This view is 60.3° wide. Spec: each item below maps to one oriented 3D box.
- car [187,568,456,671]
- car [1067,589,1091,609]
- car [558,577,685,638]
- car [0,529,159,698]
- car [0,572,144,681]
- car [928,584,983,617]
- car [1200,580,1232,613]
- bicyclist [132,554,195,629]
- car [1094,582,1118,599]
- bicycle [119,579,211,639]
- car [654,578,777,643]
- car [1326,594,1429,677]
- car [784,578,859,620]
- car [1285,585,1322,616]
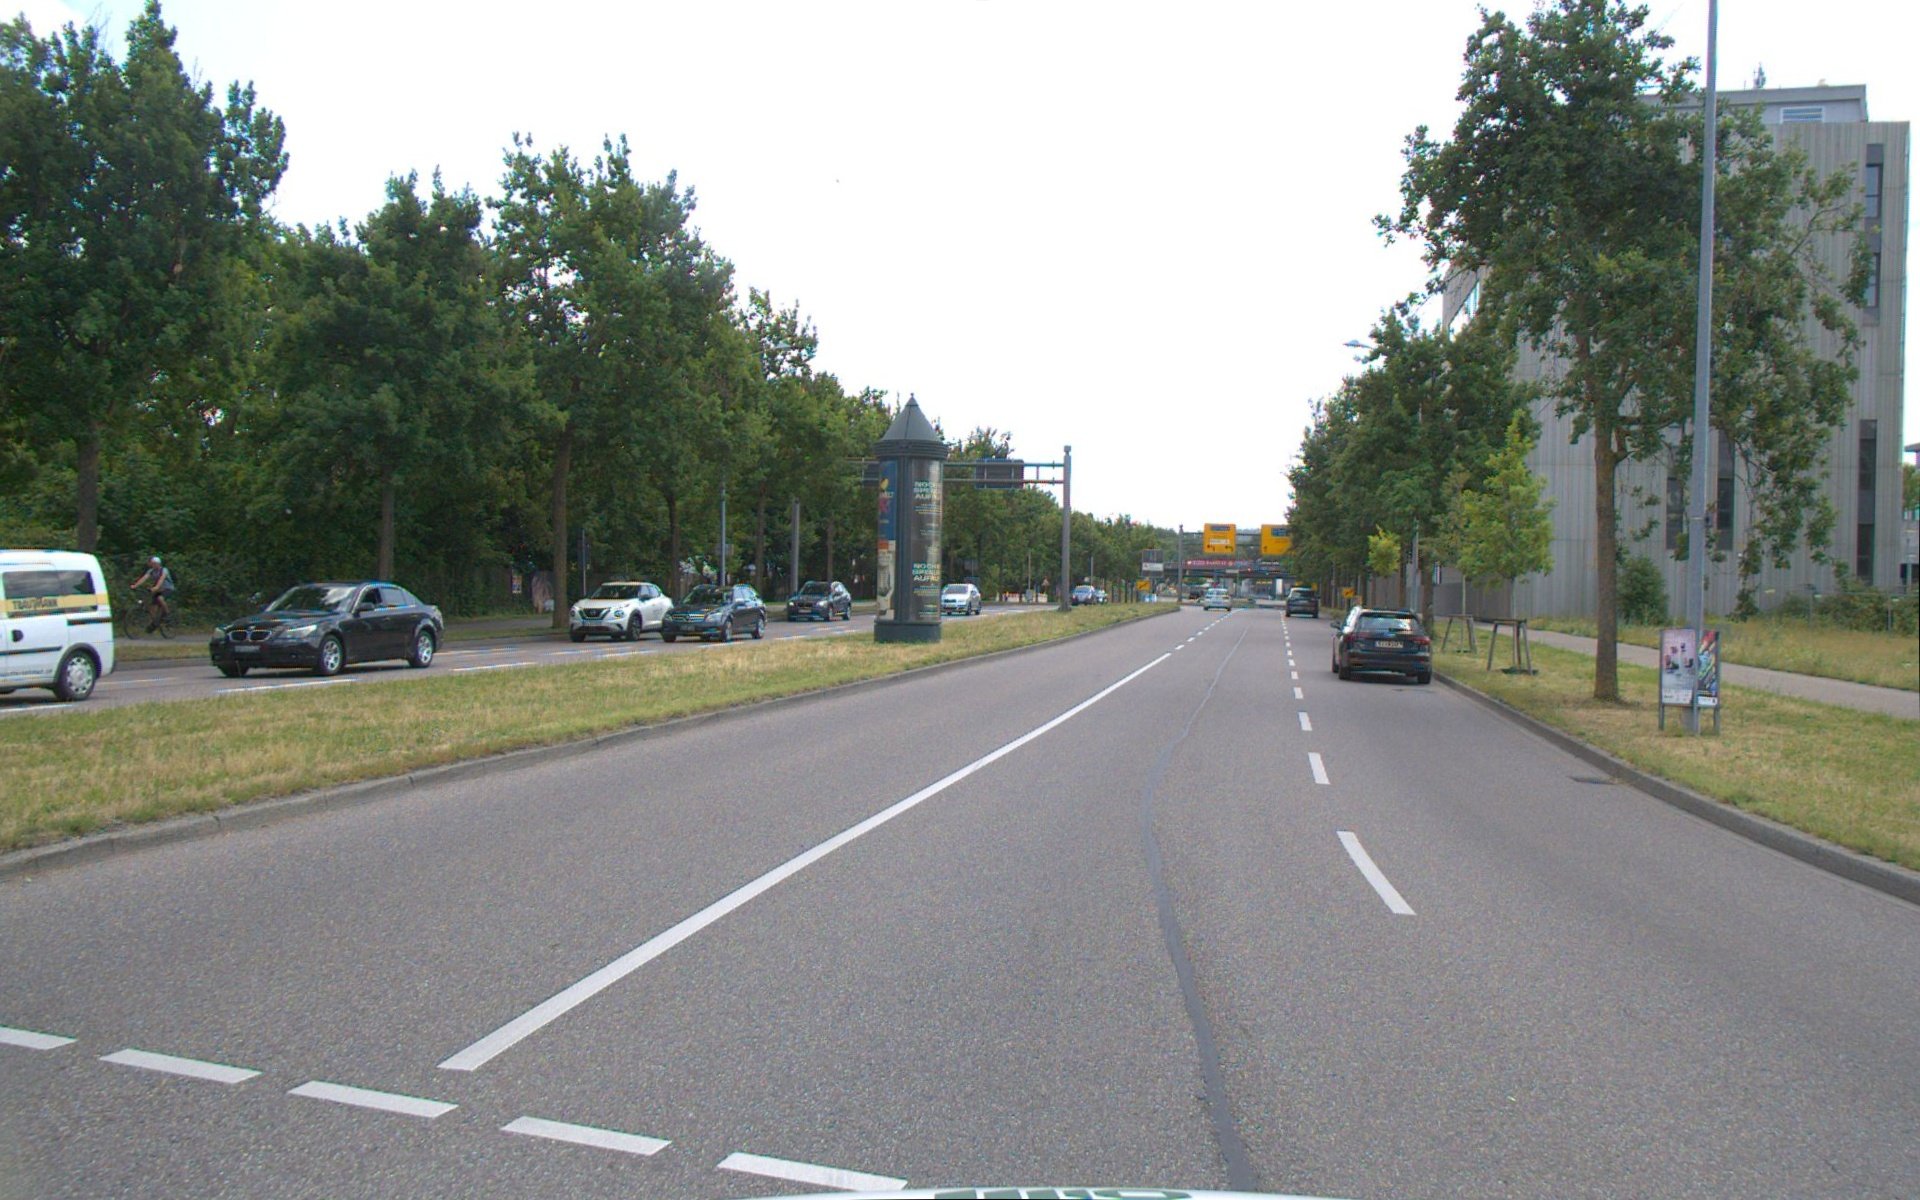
[{"bbox_3d":[-10.087,0.294,26.586,1.798,1.506,4.757,0,0,11],"label":"car"},{"bbox_3d":[9.540,-0.111,132.199,1.704,1.596,4.279,0,0,7],"label":"car"},{"bbox_3d":[-9.071,0.177,44.700,1.869,1.567,4.372,0,0,11],"label":"car"},{"bbox_3d":[-11.257,0.156,18.266,1.798,1.831,4.792,0,0,11],"label":"car"},{"bbox_3d":[-13.697,0.366,22.941,1.799,1.468,4.422,-1,0,15],"label":"car"},{"bbox_3d":[-0.170,-0.010,76.544,1.725,1.465,4.313,0,0,11],"label":"car"},{"bbox_3d":[16.835,-0.203,108.792,1.951,2.048,4.003,3,0,8],"label":"car"},{"bbox_3d":[-17.600,-0.178,36.574,0.812,1.592,0.884,3,0,10],"label":"bicyclist"},{"bbox_3d":[13.613,-0.870,154.245,1.704,1.572,4.577,0,0,11],"label":"car"},{"bbox_3d":[-17.602,0.191,36.682,0.745,1.240,2.018,3,1,10],"label":"bicycle"},{"bbox_3d":[-6.433,0.250,44.091,1.685,1.618,5.017,0,0,11],"label":"car"},{"bbox_3d":[8.347,0.678,33.327,1.648,1.489,4.003,3,0,10],"label":"car"},{"bbox_3d":[-5.491,-0.068,66.231,1.725,1.604,5.036,0,0,10],"label":"car"},{"bbox_3d":[19.602,-0.006,94.505,1.951,1.654,4.313,2,1,11],"label":"car"}]
